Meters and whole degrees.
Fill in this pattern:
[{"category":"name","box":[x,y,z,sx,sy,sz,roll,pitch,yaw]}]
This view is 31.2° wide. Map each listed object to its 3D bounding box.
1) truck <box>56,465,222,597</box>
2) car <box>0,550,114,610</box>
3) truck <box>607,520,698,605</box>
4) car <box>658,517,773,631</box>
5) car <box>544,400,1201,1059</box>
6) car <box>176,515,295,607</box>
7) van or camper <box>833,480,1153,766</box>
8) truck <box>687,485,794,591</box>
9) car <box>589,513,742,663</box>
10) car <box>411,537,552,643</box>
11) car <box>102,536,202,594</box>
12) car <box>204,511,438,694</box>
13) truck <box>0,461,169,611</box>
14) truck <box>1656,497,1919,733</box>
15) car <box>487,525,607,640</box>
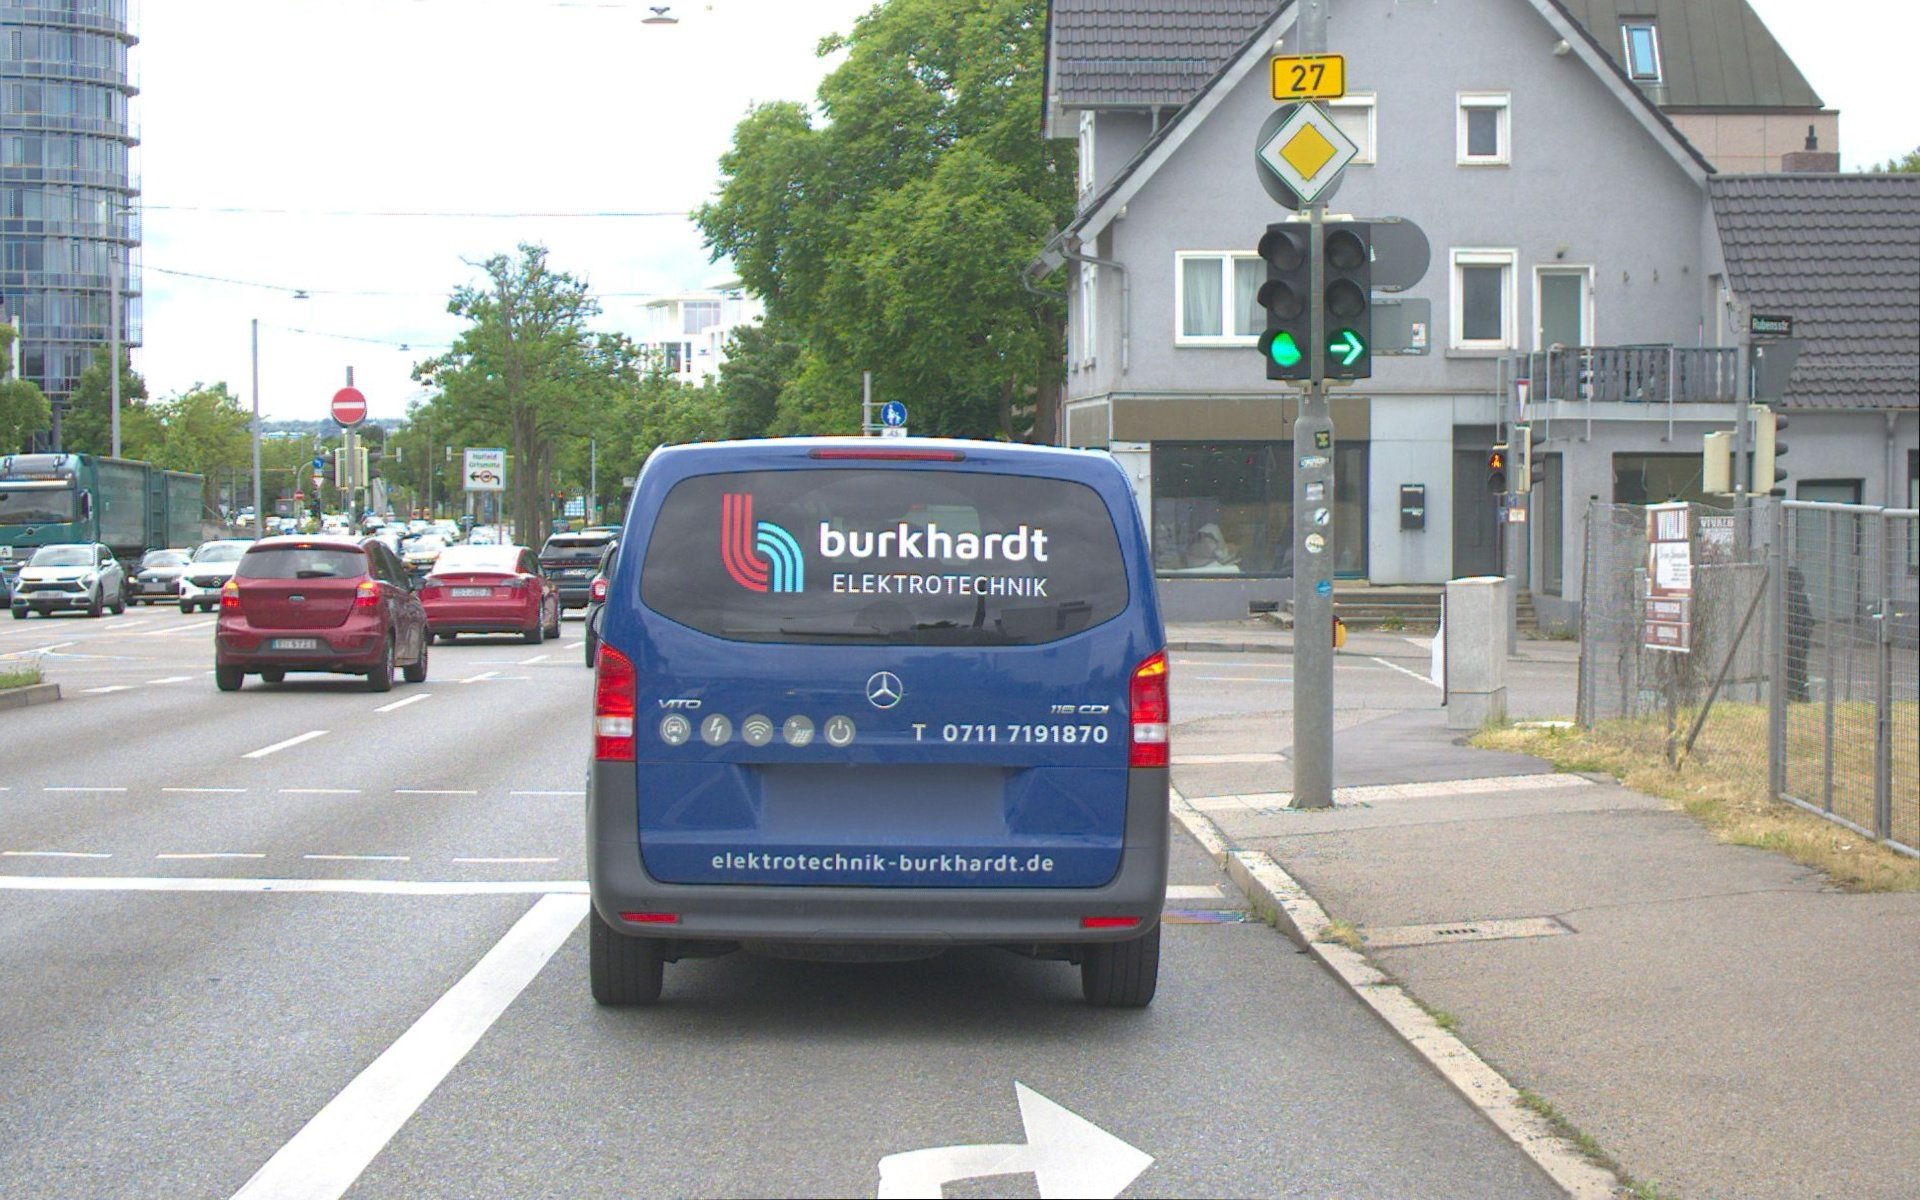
[{"category":"truck","box":[-24.248,-2.027,101.966,3.367,3.714,8.028,-1,1,-3]},{"category":"car","box":[-19.960,-0.458,75.937,1.829,1.258,4.001,-1,1,-4]},{"category":"truck","box":[-8.235,-1.022,92.514,1.993,2.158,5.559,2,1,-1]},{"category":"car","box":[-3.851,-0.440,54.511,1.746,1.717,4.001,-1,1,-3]},{"category":"car","box":[-0.379,0.359,12.561,1.947,1.959,4.542,1,1,-3]},{"category":"car","box":[-16.392,-0.905,77.996,1.993,2.007,4.180,-1,1,-3]},{"category":"van or camper","box":[0.377,0.078,27.886,1.994,2.006,5.095,2,3,7]},{"category":"truck","box":[-4.727,-1.345,74.723,1.993,2.158,5.559,2,1,-1]},{"category":"car","box":[-3.548,-0.177,41.726,1.746,1.717,4.001,-1,1,-4]},{"category":"car","box":[-7.093,-0.132,50.693,1.868,1.481,4.001,-1,0,-10]},{"category":"car","box":[-20.676,-0.909,88.112,1.797,1.412,4.001,-1,1,-3]},{"category":"car","box":[-6.345,-0.015,34.521,1.746,1.717,4.001,-1,1,-2]},{"category":"truck","box":[-23.677,-1.683,91.443,3.367,3.714,11.282,1,1,-4]},{"category":"truck","box":[11.973,0.251,42.073,6.386,2.691,2.000,3,1,-1]},{"category":"car","box":[-7.788,-0.360,64.594,1.993,2.006,4.001,1,2,-10]}]
